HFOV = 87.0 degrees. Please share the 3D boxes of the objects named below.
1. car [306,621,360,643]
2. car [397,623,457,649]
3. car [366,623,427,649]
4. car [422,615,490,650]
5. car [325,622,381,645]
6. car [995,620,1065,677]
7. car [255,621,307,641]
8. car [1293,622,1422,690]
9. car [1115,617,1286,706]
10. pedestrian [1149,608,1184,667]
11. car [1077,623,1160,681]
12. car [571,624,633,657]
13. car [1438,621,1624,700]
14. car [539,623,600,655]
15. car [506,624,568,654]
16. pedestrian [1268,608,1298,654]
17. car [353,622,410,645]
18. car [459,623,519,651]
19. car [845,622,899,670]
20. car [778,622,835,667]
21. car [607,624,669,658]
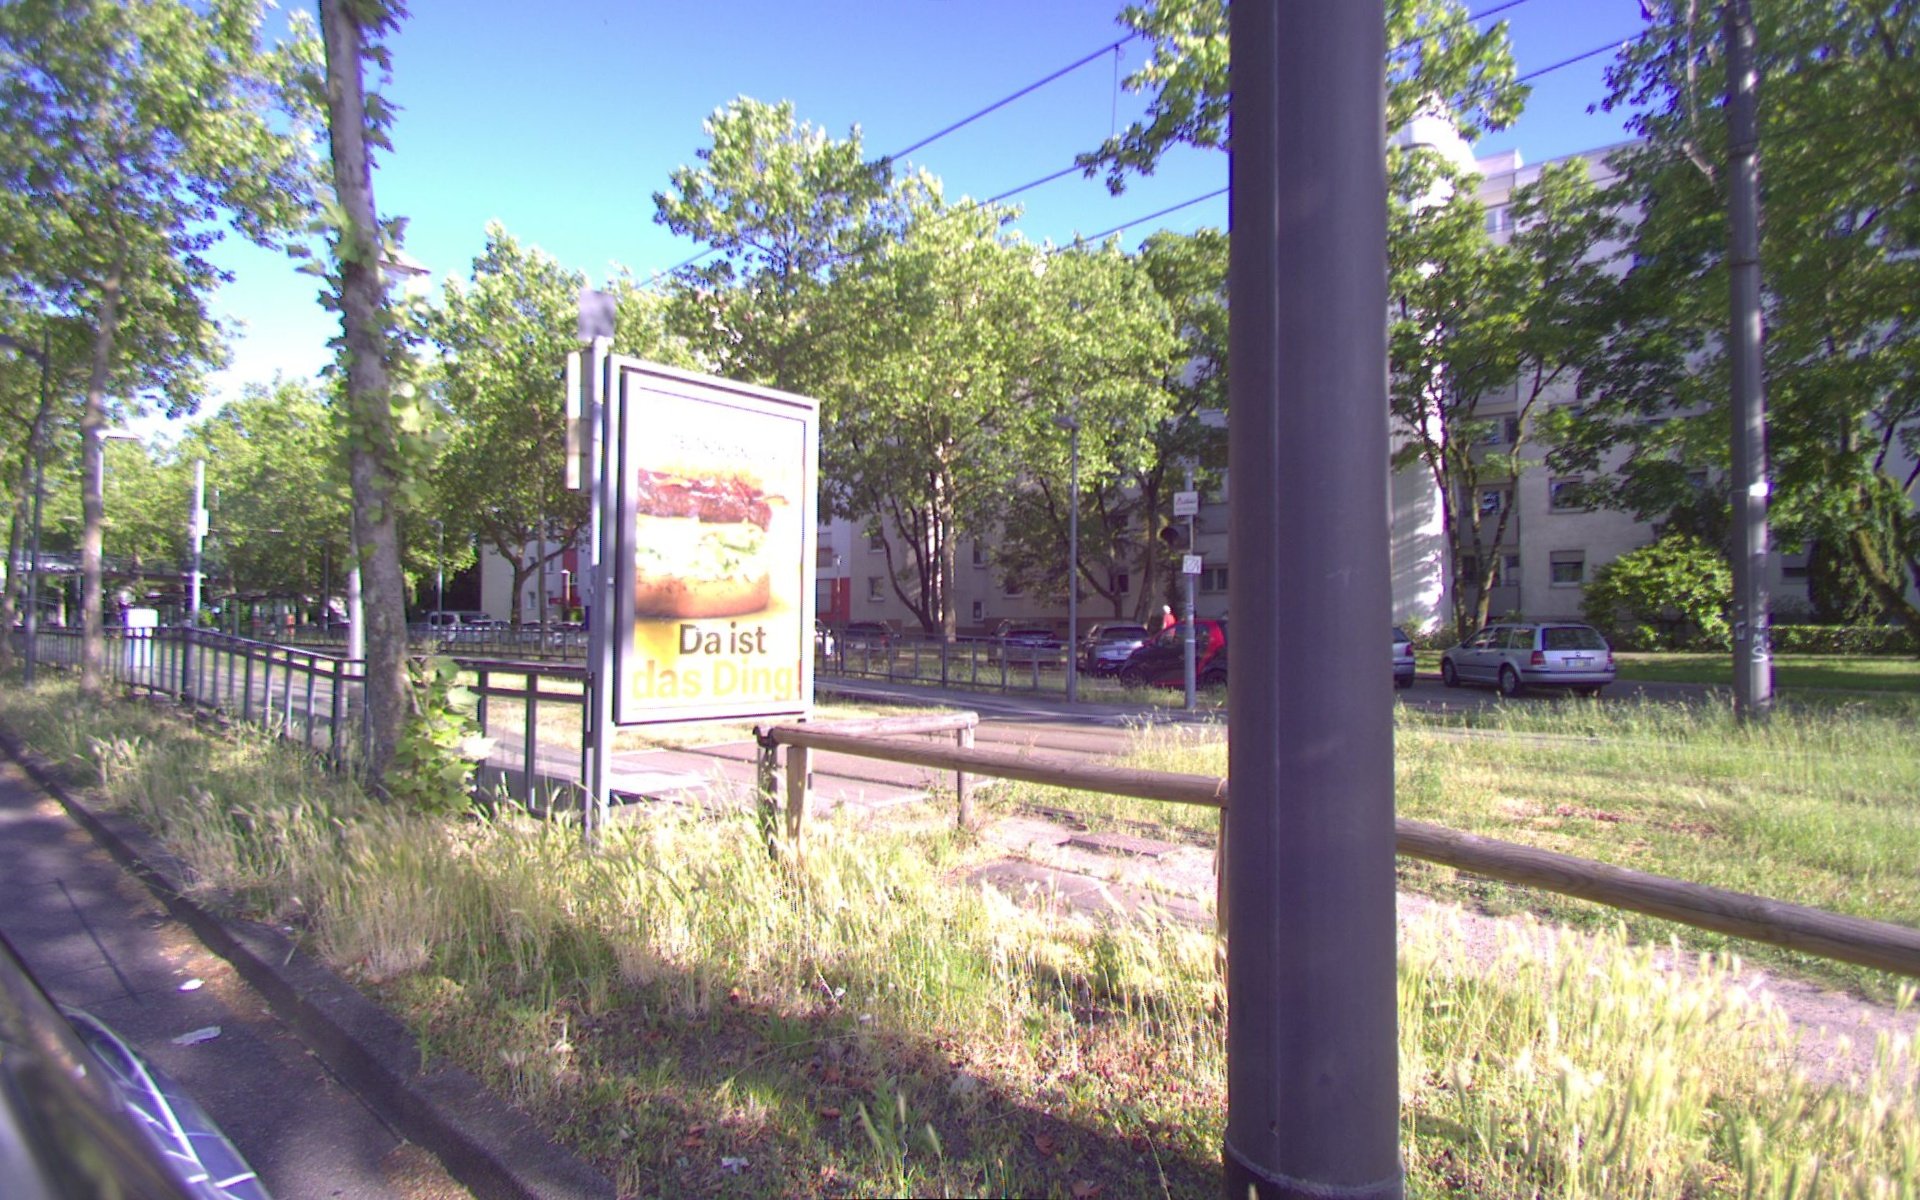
[{"bbox_3d":[-44.973,2.289,72.678,1.633,1.452,3.805,-1,-1,-2],"label":"car"},{"bbox_3d":[-31.325,2.084,59.597,1.633,1.452,3.805,-1,-1,-2],"label":"car"},{"bbox_3d":[-33.688,2.115,60.600,1.633,1.452,3.805,-1,-1,-2],"label":"car"},{"bbox_3d":[-28.446,1.826,57.252,1.814,1.888,4.323,-1,-1,-2],"label":"car"},{"bbox_3d":[-40.832,2.228,68.189,1.633,1.452,3.805,-1,-1,-2],"label":"car"},{"bbox_3d":[1.991,1.356,29.666,1.633,1.522,3.805,-1,-1,-2],"label":"car"},{"bbox_3d":[-53.045,2.403,79.150,1.633,1.452,3.805,-1,-1,-2],"label":"car"},{"bbox_3d":[9.150,1.240,23.590,1.559,1.413,3.638,-1,-1,0],"label":"car"},{"bbox_3d":[4.630,1.134,19.609,2.817,1.569,1.558,-2,-1,44],"label":"car"},{"bbox_3d":[6.303,1.125,30.905,0.786,1.745,0.755,-1,0,39],"label":"pedestrian"},{"bbox_3d":[4.225,1.366,27.518,1.633,1.413,3.803,-1,-1,0],"label":"car"},{"bbox_3d":[-16.620,1.856,47.158,1.633,1.452,3.805,-1,-1,-2],"label":"car"},{"bbox_3d":[11.481,1.162,20.664,1.559,1.413,3.906,-1,-1,0],"label":"car"},{"bbox_3d":[-19.039,1.899,49.538,1.633,1.452,3.805,-1,-1,-2],"label":"car"},{"bbox_3d":[-21.331,1.941,51.182,1.633,1.452,3.805,-1,-1,-2],"label":"car"},{"bbox_3d":[11.711,1.129,36.712,0.786,1.635,0.755,-1,0,39],"label":"pedestrian"},{"bbox_3d":[-37.879,2.174,66.376,1.633,1.452,3.805,-1,-1,-2],"label":"car"},{"bbox_3d":[-25.864,2.001,55.658,1.633,1.452,3.805,-1,-1,-2],"label":"car"},{"bbox_3d":[-2.969,1.528,34.648,1.633,1.522,3.805,-1,-1,-2],"label":"car"},{"bbox_3d":[-5.559,1.570,37.017,1.633,1.522,3.805,-1,-1,-2],"label":"car"},{"bbox_3d":[-14.056,1.767,44.335,1.633,1.366,3.805,-1,-1,-2],"label":"car"}]
